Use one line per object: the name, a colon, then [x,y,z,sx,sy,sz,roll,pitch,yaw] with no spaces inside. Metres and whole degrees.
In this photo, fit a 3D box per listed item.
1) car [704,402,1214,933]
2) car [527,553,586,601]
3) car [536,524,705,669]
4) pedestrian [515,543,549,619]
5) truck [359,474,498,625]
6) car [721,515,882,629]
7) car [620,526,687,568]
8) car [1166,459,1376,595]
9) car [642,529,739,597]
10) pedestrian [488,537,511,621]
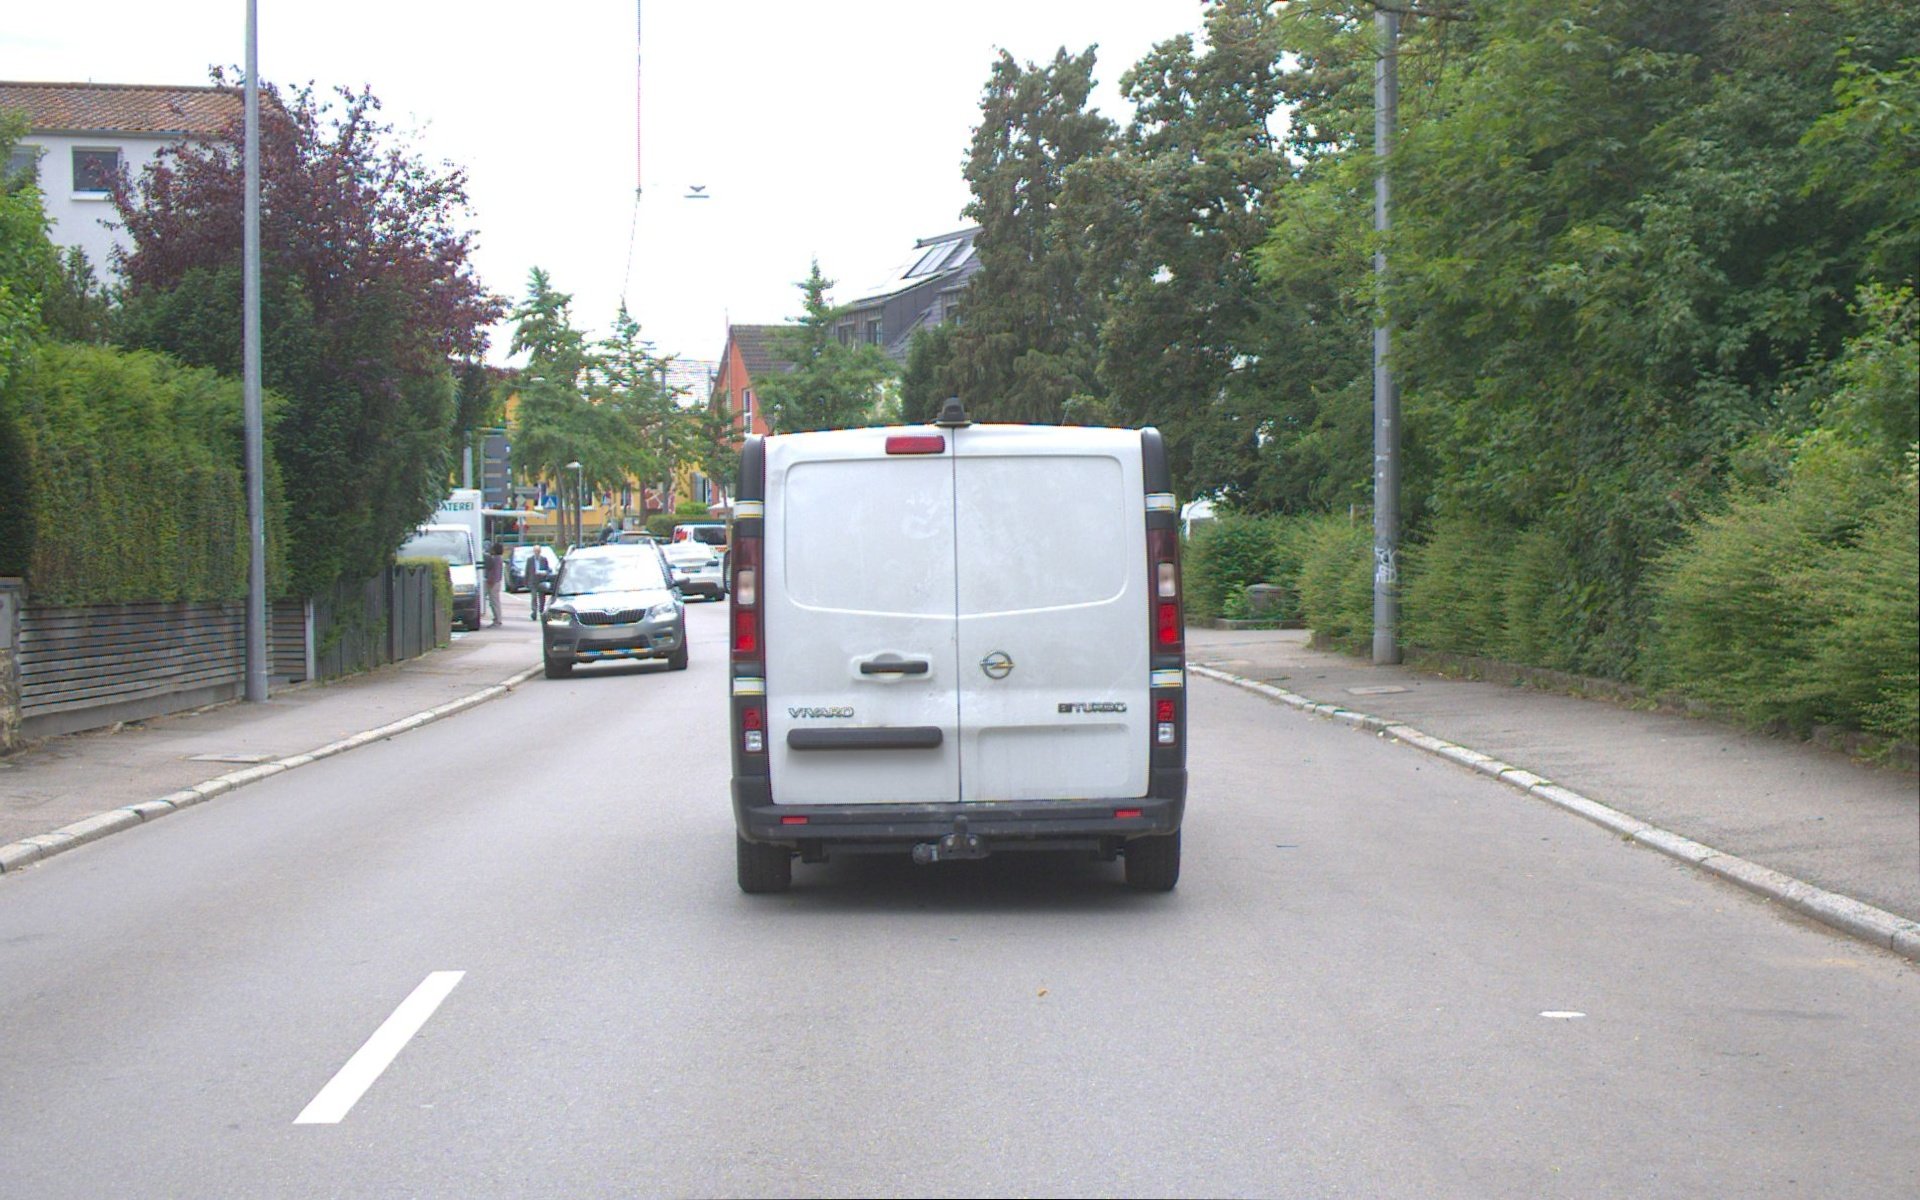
car: [-0.028,0.230,15.557,1.915,1.996,4.438,-2,1,-1]
car: [-13.129,-0.769,112.051,1.693,1.427,3.928,-4,1,-5]
car: [-4.327,-0.062,44.341,1.840,1.650,4.139,-4,1,-3]
pedestrian: [-9.662,-0.429,77.612,0.722,1.681,1.109,1,0,-5]
truck: [-10.654,-1.001,68.456,2.472,2.831,6.709,-1,1,-11]
car: [-2.797,-0.498,59.735,1.993,1.842,4.001,-2,1,-14]
car: [-11.314,-1.946,126.823,1.741,1.489,3.656,1,1,-17]
car: [6.348,-1.476,70.963,2.496,2.673,5.188,1,1,-17]
car: [-7.486,-1.036,95.296,1.993,1.776,4.001,-3,1,-14]
pedestrian: [-9.241,-0.423,69.002,0.401,1.689,0.597,1,0,-11]
